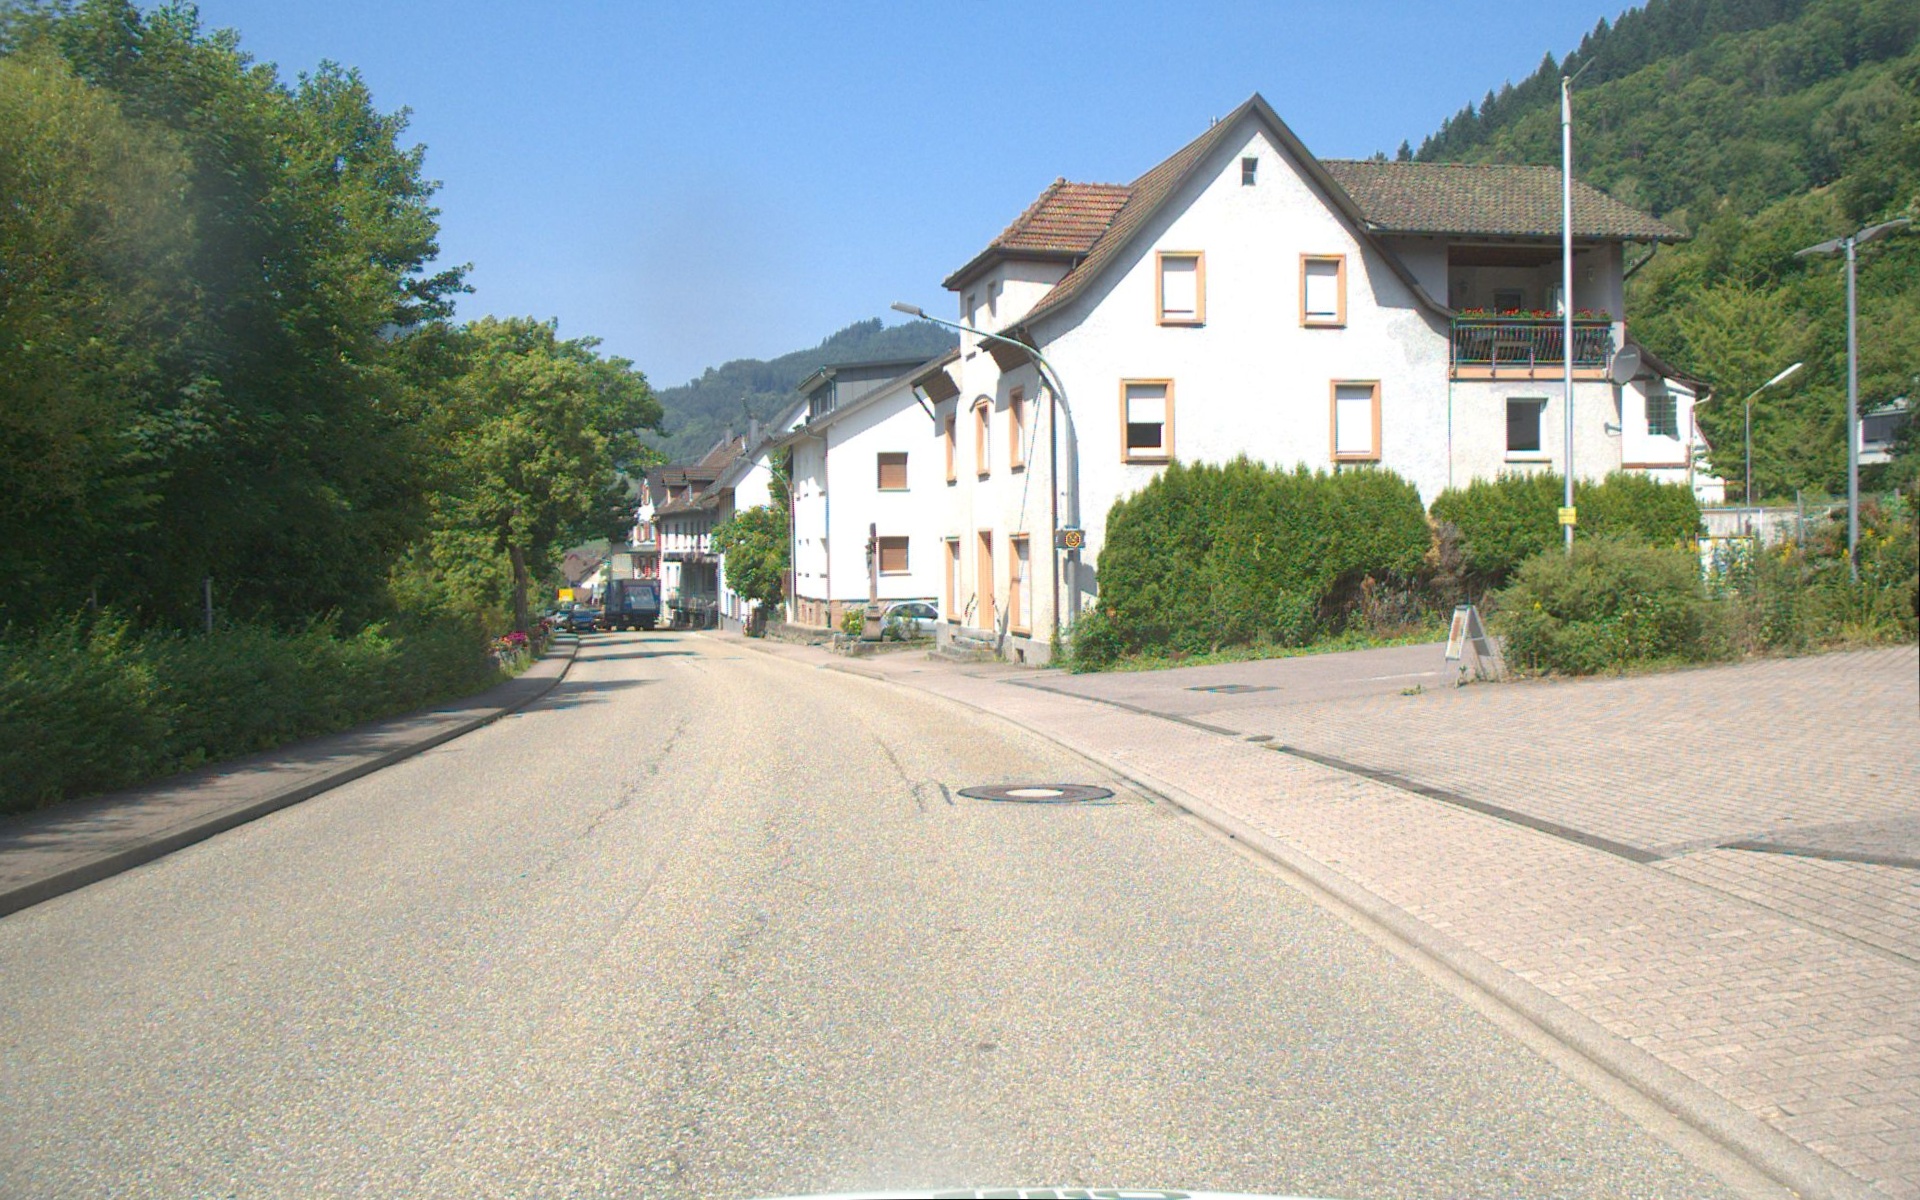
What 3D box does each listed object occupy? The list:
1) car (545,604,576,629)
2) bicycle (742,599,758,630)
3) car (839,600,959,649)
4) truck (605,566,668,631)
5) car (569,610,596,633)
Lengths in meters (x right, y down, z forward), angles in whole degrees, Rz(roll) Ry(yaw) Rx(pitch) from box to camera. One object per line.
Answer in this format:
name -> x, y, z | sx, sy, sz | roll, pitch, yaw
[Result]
car -> -32.764, 1.345, 135.579 | 1.750, 1.764, 3.972 | -5, -1, -23
bicycle -> -10.050, 0.694, 79.117 | 0.418, 1.420, 2.270 | -5, 1, -12
car -> -2.041, 0.813, 54.898 | 3.696, 1.452, 1.606 | -3, 0, 33
truck -> -22.254, -0.047, 113.478 | 3.310, 3.847, 8.402 | -5, -1, -16
car -> -25.604, 1.473, 112.315 | 1.637, 1.442, 4.074 | -3, 0, -12
